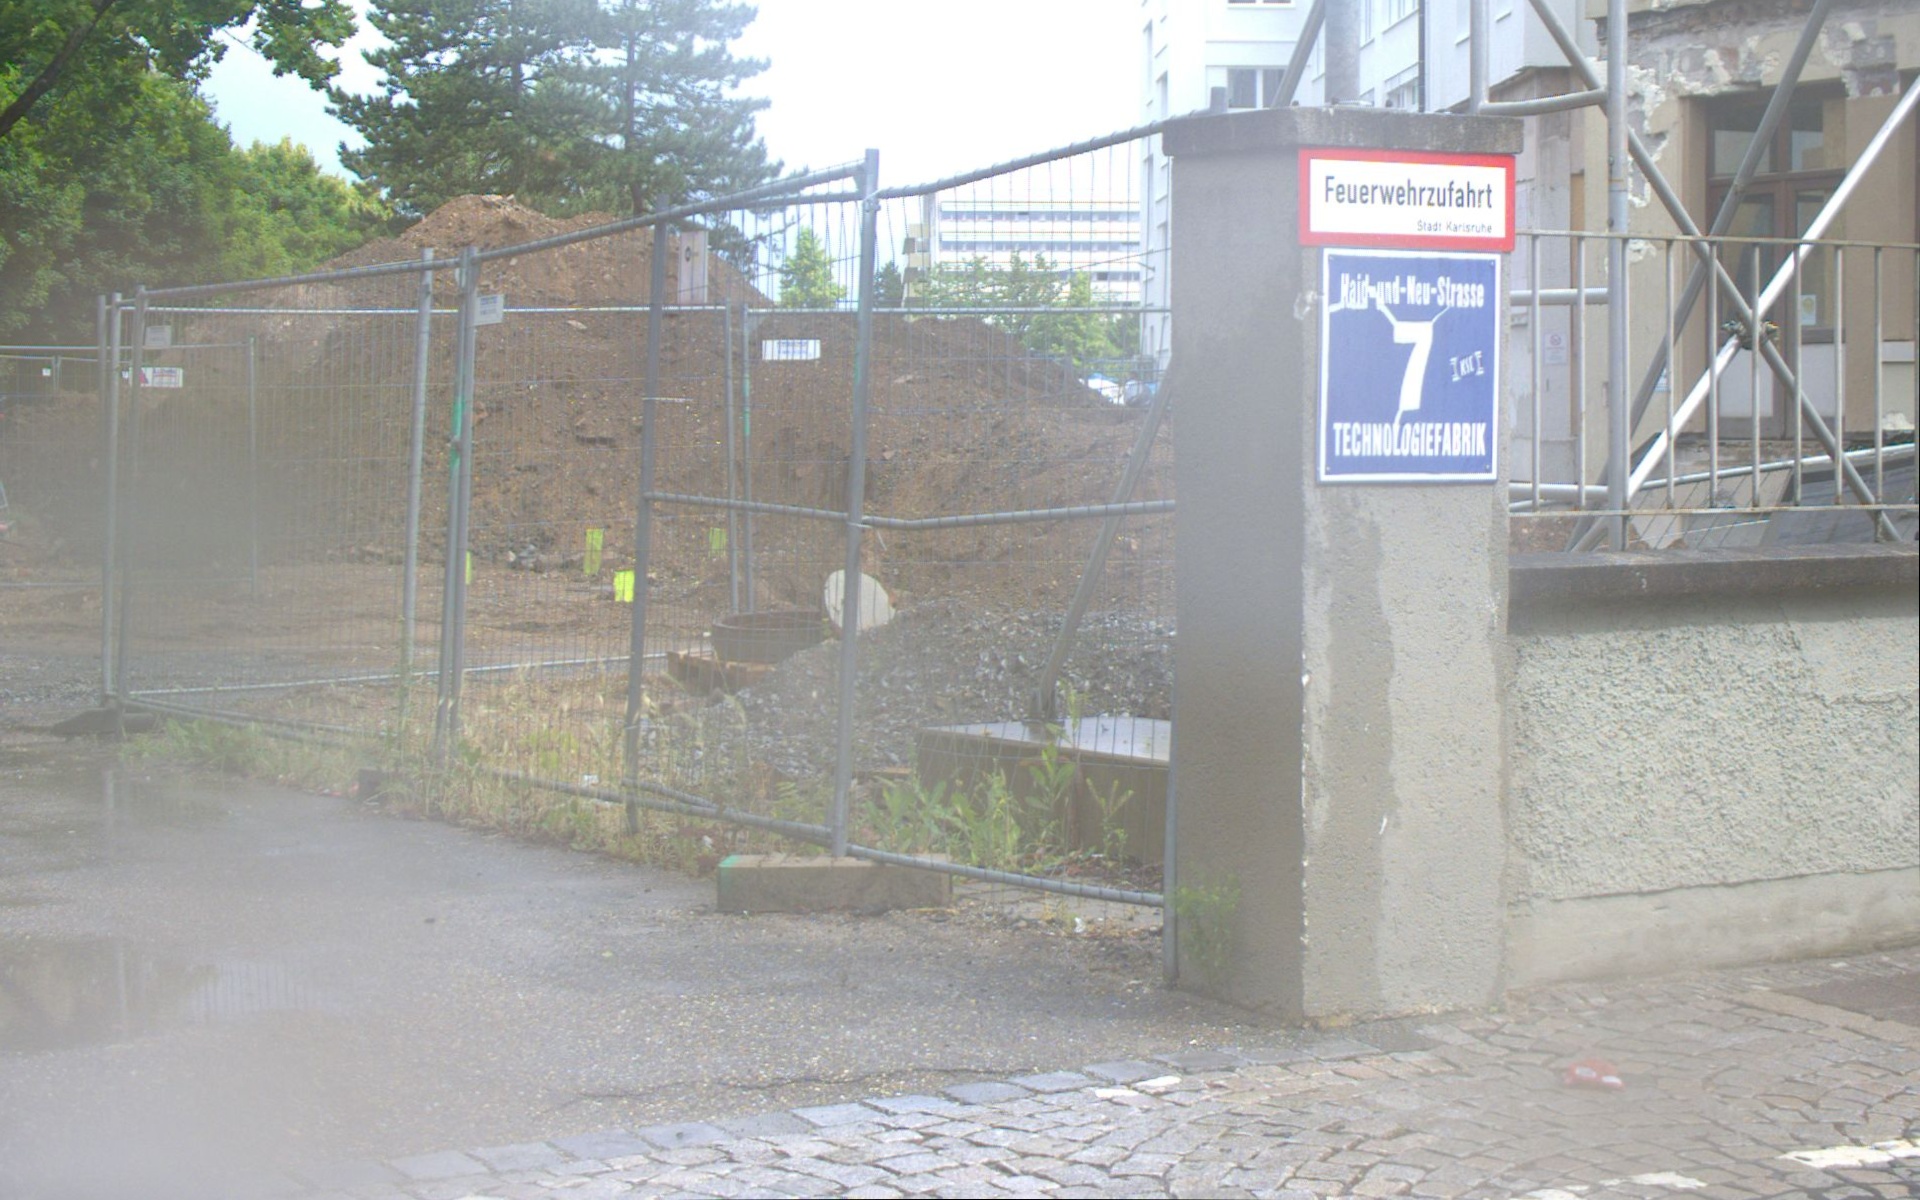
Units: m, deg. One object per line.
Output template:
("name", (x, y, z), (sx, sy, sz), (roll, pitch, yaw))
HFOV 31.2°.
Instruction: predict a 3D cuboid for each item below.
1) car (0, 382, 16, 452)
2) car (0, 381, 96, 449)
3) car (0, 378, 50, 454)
("car", (-22.830, -4.048, 74.937), (3.986, 1.490, 1.994), (2, 4, -3))
("car", (-23.228, -4.534, 83.771), (3.986, 1.554, 1.764), (1, 4, -6))
("car", (-22.895, -4.223, 78.073), (4.106, 1.644, 1.848), (1, 4, -8))
